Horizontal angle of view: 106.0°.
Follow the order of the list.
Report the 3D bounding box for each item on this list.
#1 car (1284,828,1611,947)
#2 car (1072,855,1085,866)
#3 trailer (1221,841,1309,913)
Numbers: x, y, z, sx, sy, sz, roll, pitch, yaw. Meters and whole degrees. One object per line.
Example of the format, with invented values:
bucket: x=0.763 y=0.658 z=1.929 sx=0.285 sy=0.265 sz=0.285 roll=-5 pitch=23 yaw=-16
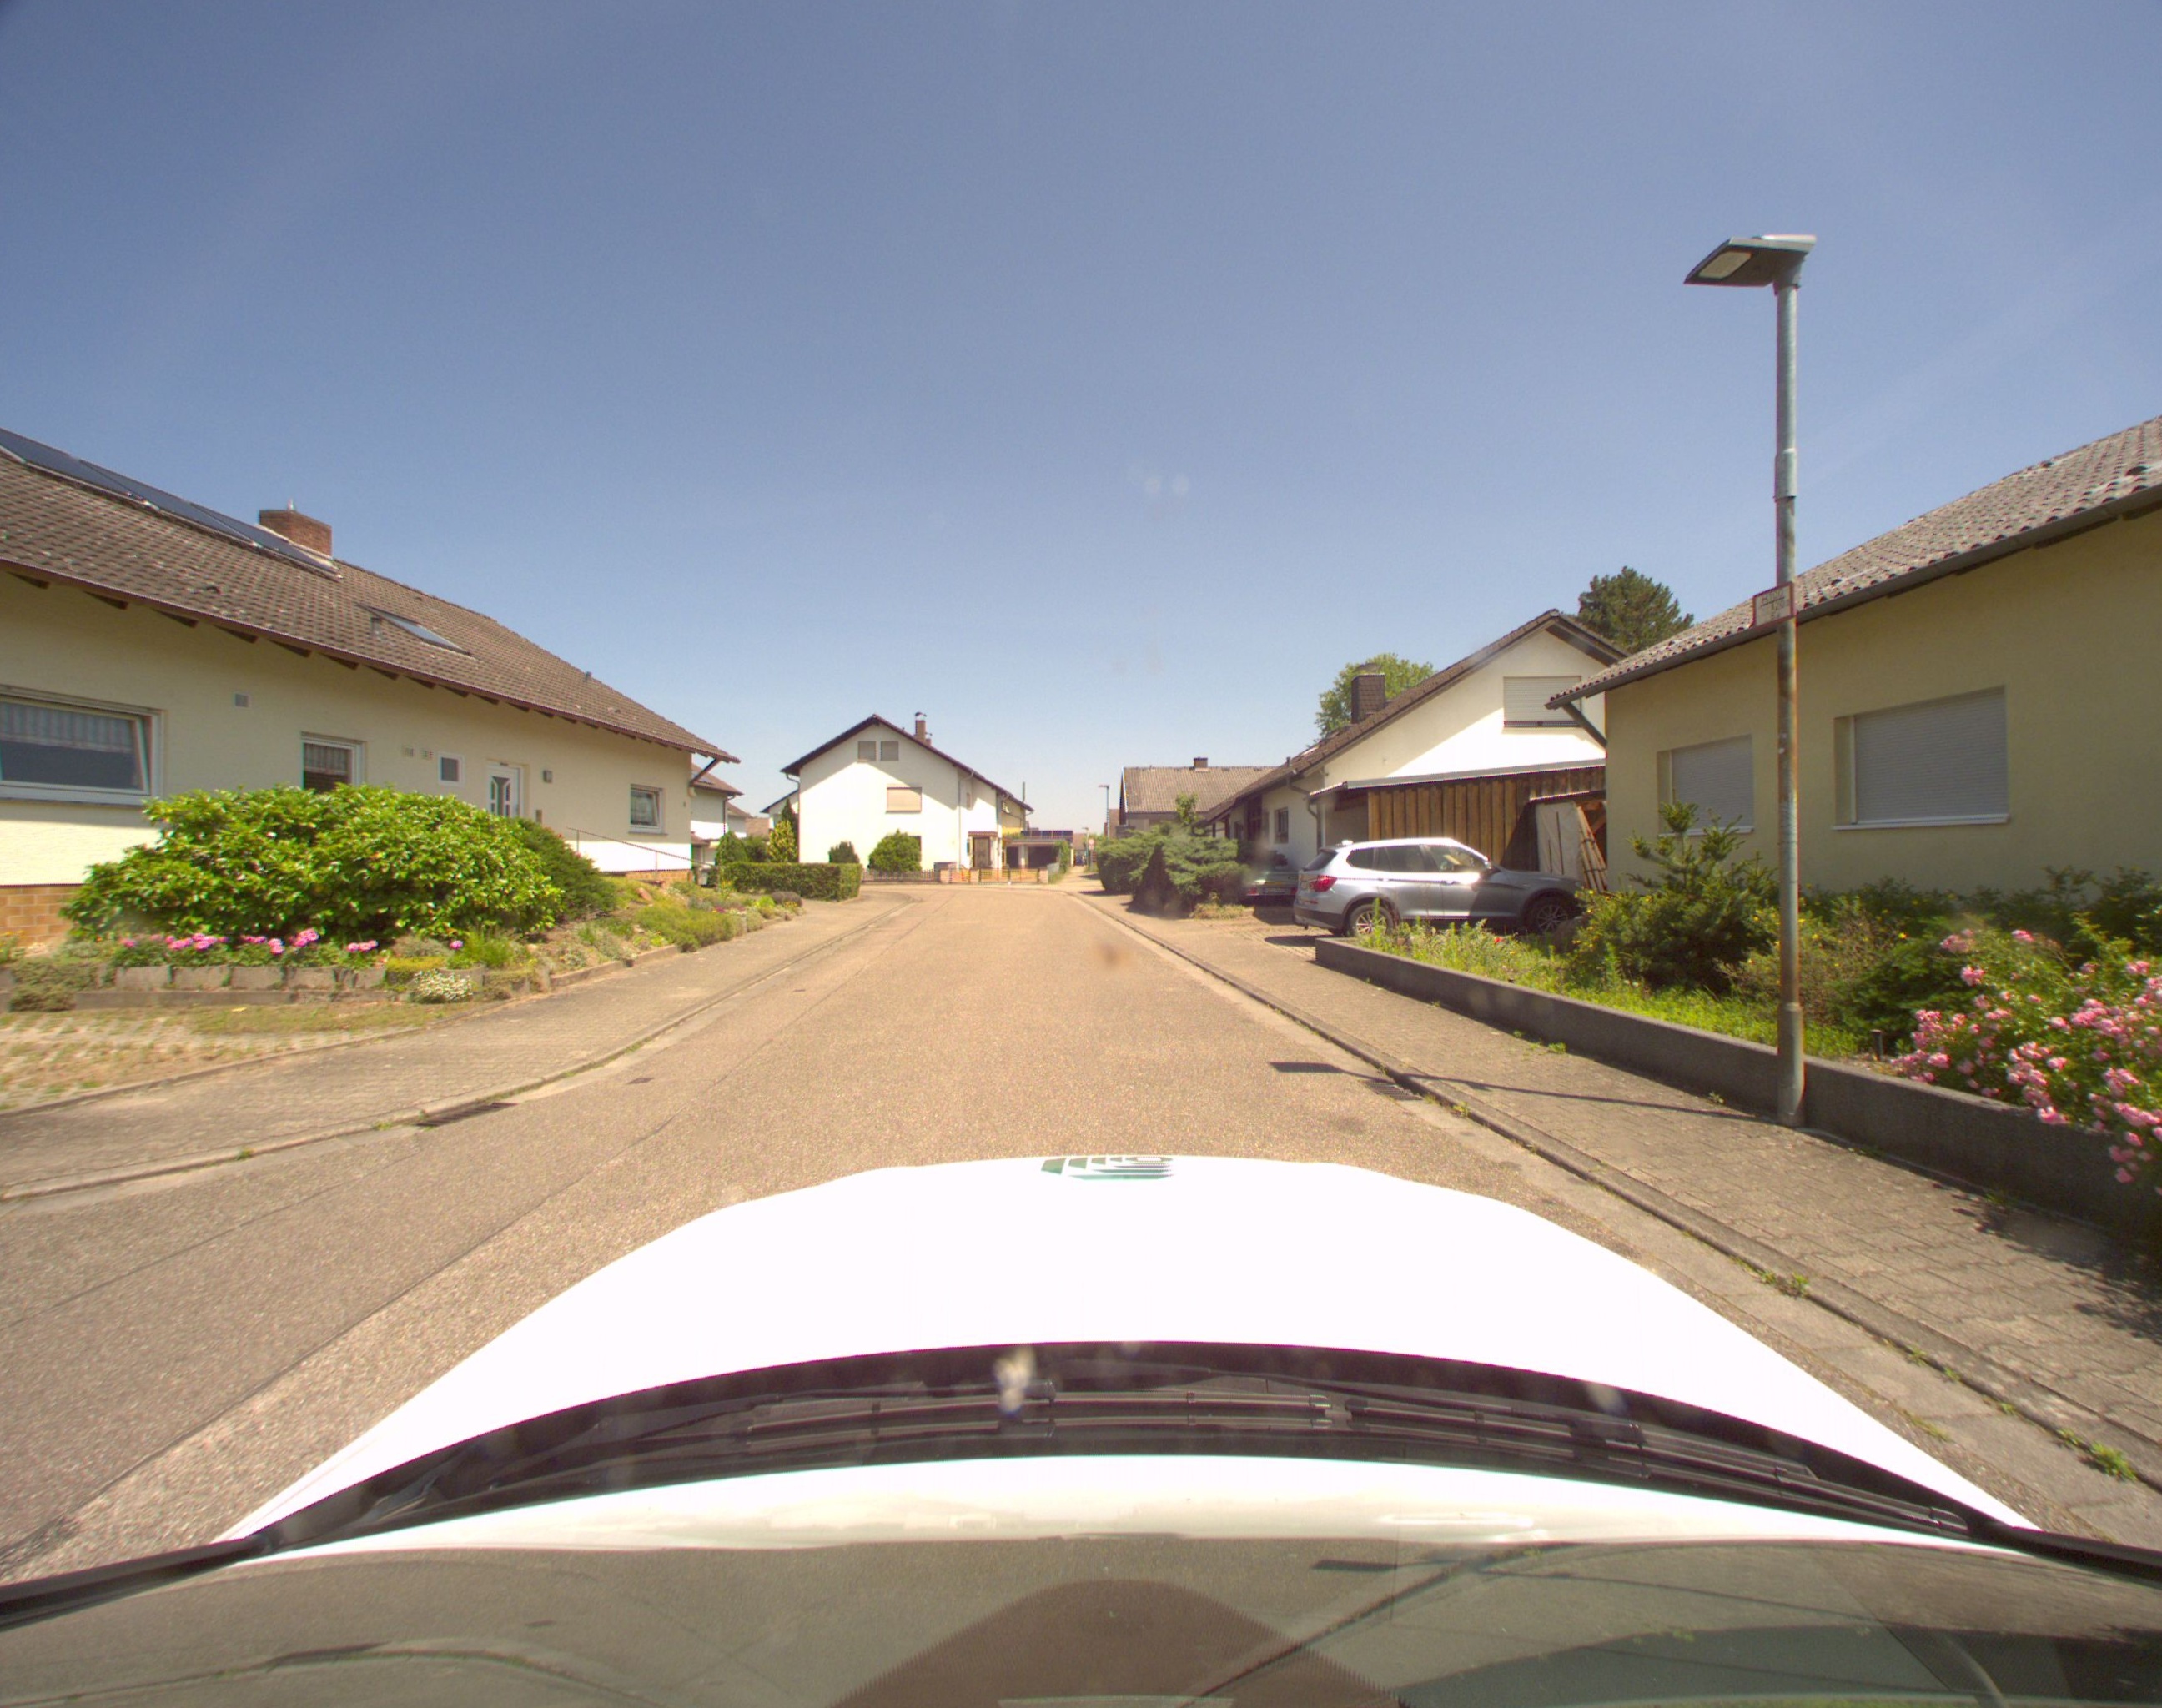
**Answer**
car: x=5.880 y=0.533 z=13.512 sx=4.607 sy=1.702 sz=1.711 roll=-2 pitch=0 yaw=3
car: x=-0.436 y=1.087 z=139.277 sx=2.186 sy=1.701 sz=3.808 roll=-1 pitch=0 yaw=1
trailer: x=4.678 y=0.544 z=21.104 sx=1.581 sy=1.672 sz=3.297 roll=-2 pitch=0 yaw=1
